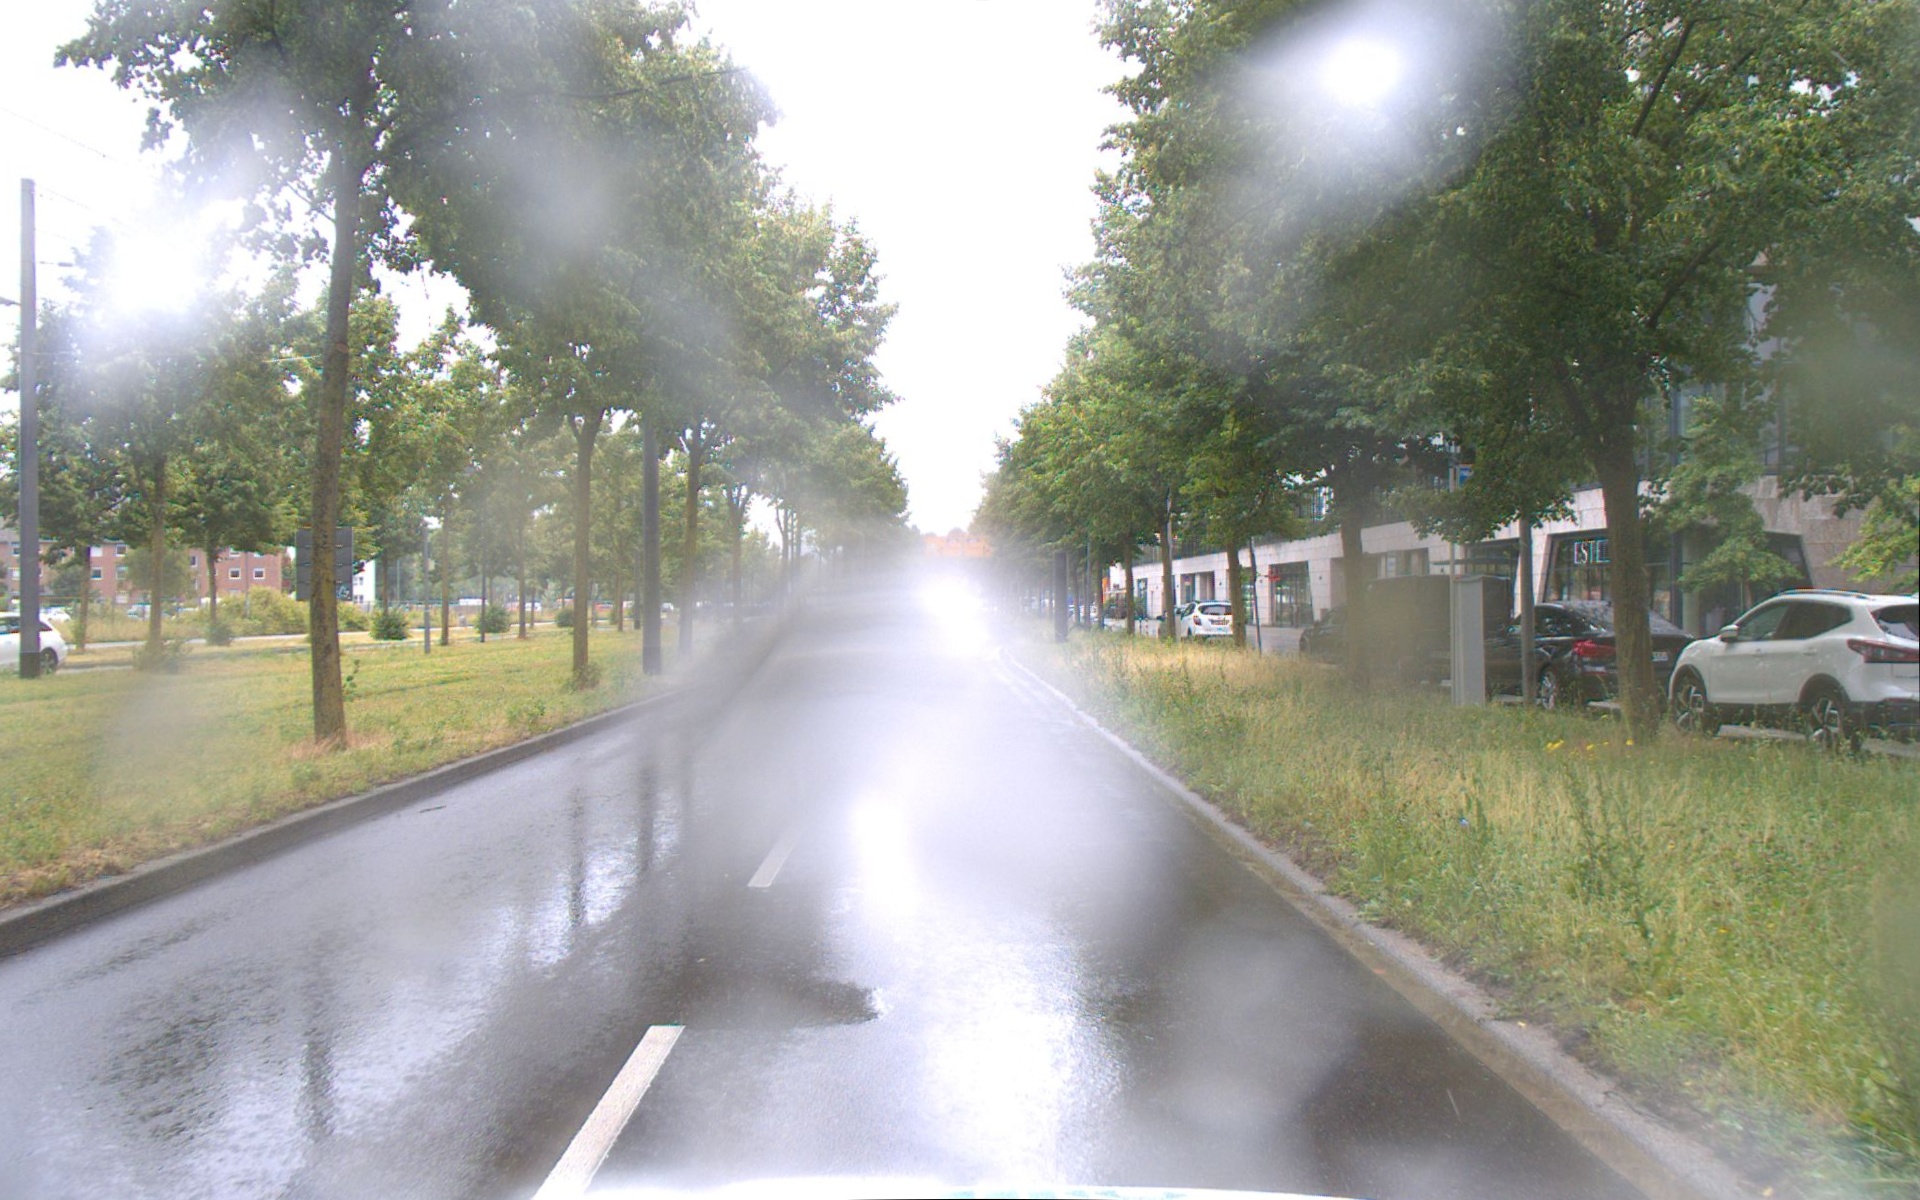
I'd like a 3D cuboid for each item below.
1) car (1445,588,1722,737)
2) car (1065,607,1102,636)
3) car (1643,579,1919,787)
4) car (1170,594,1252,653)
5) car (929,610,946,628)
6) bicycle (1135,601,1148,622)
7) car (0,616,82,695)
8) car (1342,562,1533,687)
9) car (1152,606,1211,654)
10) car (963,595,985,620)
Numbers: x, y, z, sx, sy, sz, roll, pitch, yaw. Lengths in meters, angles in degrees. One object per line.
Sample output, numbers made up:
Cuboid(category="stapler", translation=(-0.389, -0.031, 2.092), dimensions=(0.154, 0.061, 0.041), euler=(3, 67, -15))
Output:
Cuboid(category="car", translation=(8.475, 0.758, 23.034), dimensions=(1.953, 1.698, 4.958), euler=(0, 2, -1))
Cuboid(category="car", translation=(7.484, 1.304, 100.376), dimensions=(1.843, 1.532, 4.724), euler=(0, 2, -1))
Cuboid(category="car", translation=(8.973, 0.701, 16.888), dimensions=(1.953, 1.698, 4.723), euler=(0, 2, -1))
Cuboid(category="car", translation=(8.220, 0.721, 54.553), dimensions=(1.953, 1.698, 4.724), euler=(0, 2, -1))
Cuboid(category="car", translation=(-2.706, 2.313, 201.907), dimensions=(1.952, 2.048, 4.002), euler=(0, 2, 2))
Cuboid(category="bicycle", translation=(16.442, 1.049, 149.791), dimensions=(0.756, 1.752, 3.120), euler=(0, 2, -1))
Cuboid(category="car", translation=(-20.705, 1.198, 34.590), dimensions=(1.910, 1.486, 4.834), euler=(0, 2, 3))
Cuboid(category="car", translation=(8.456, 0.339, 29.790), dimensions=(1.953, 1.986, 5.029), euler=(0, 2, -1))
Cuboid(category="car", translation=(7.997, 1.067, 59.944), dimensions=(1.592, 1.516, 3.656), euler=(0, 2, 0))
Cuboid(category="car", translation=(1.259, 0.646, 148.593), dimensions=(1.901, 2.048, 4.000), euler=(0, 2, 0))
